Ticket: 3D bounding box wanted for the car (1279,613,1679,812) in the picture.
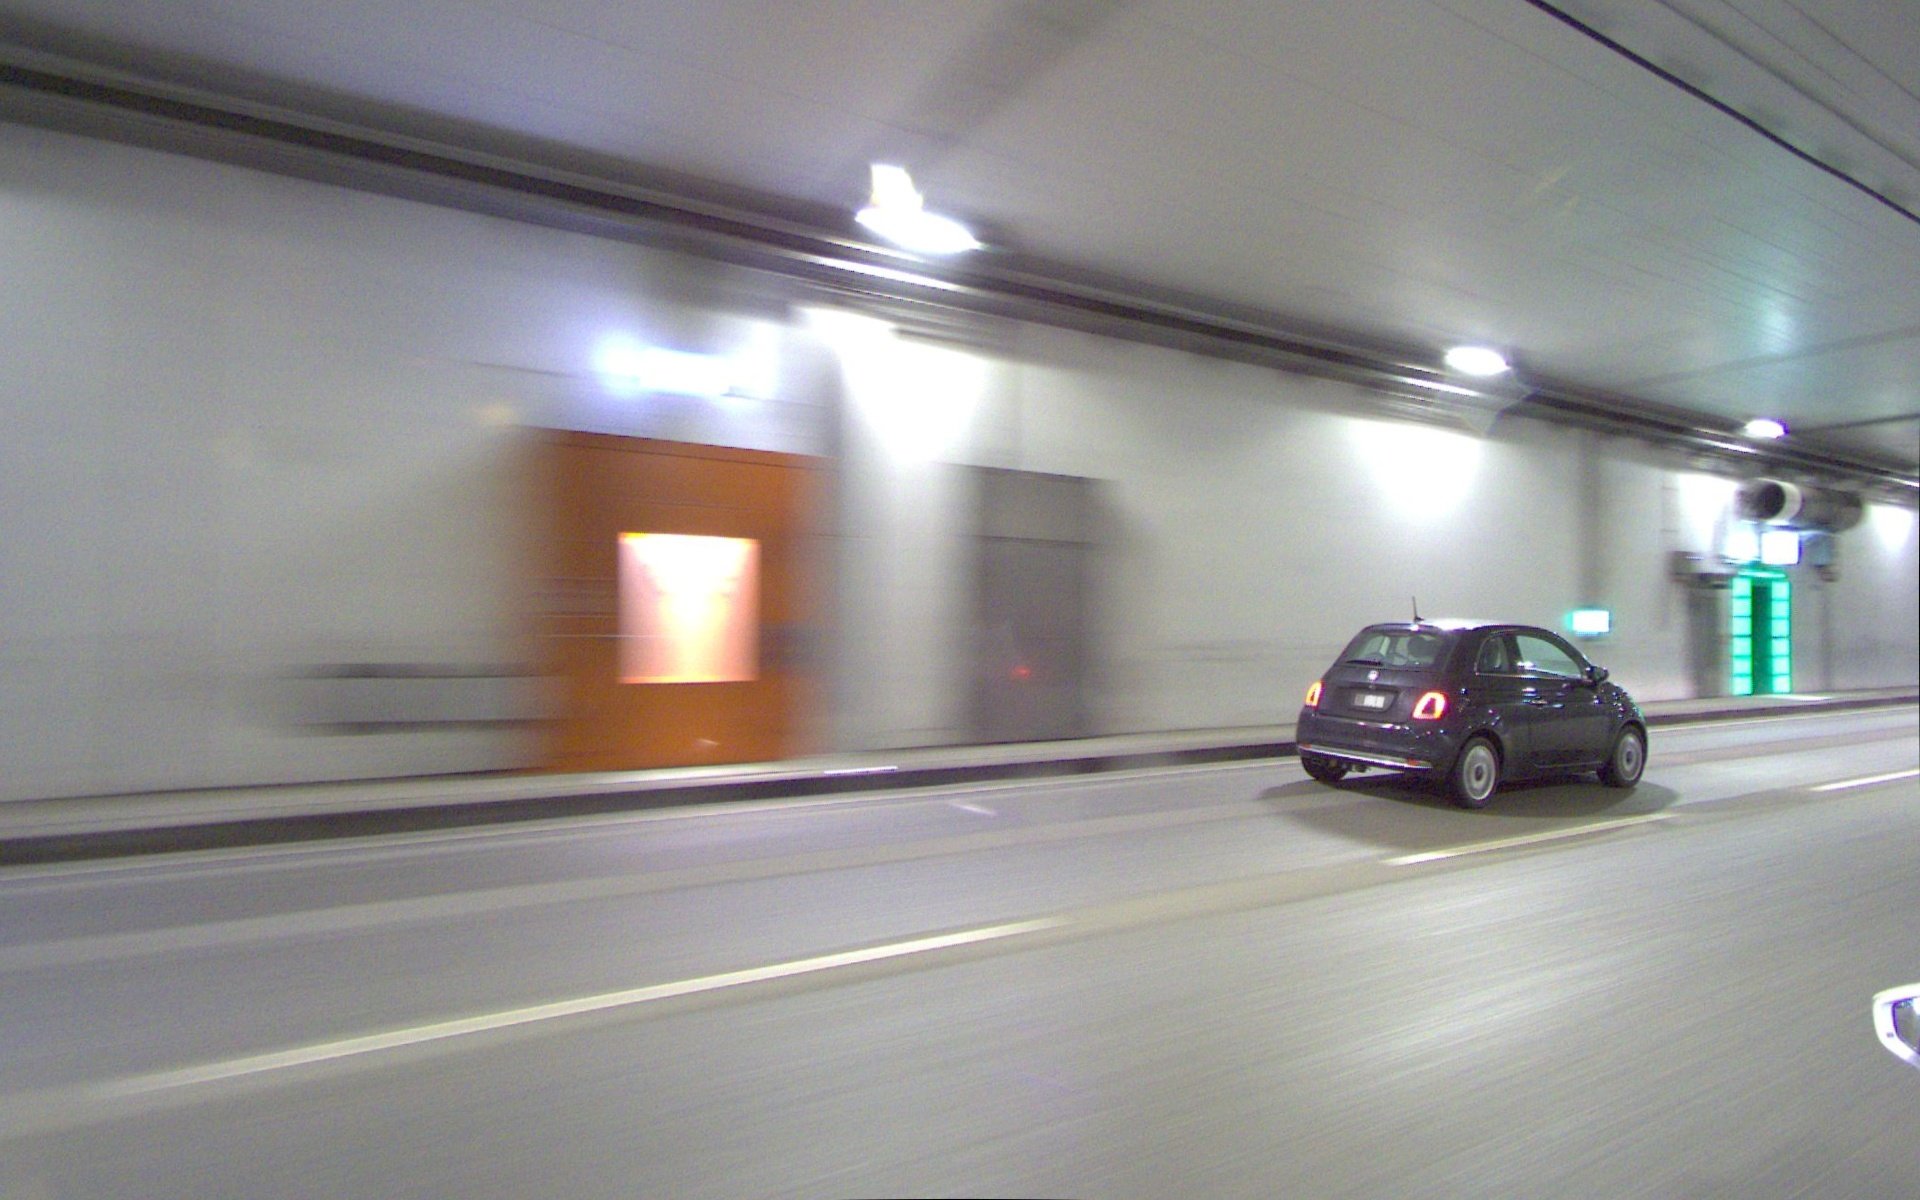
[{"bbox_3d":[4.776,0.885,9.165,3.531,1.474,1.604,1,0,-31],"label":"car"}]
